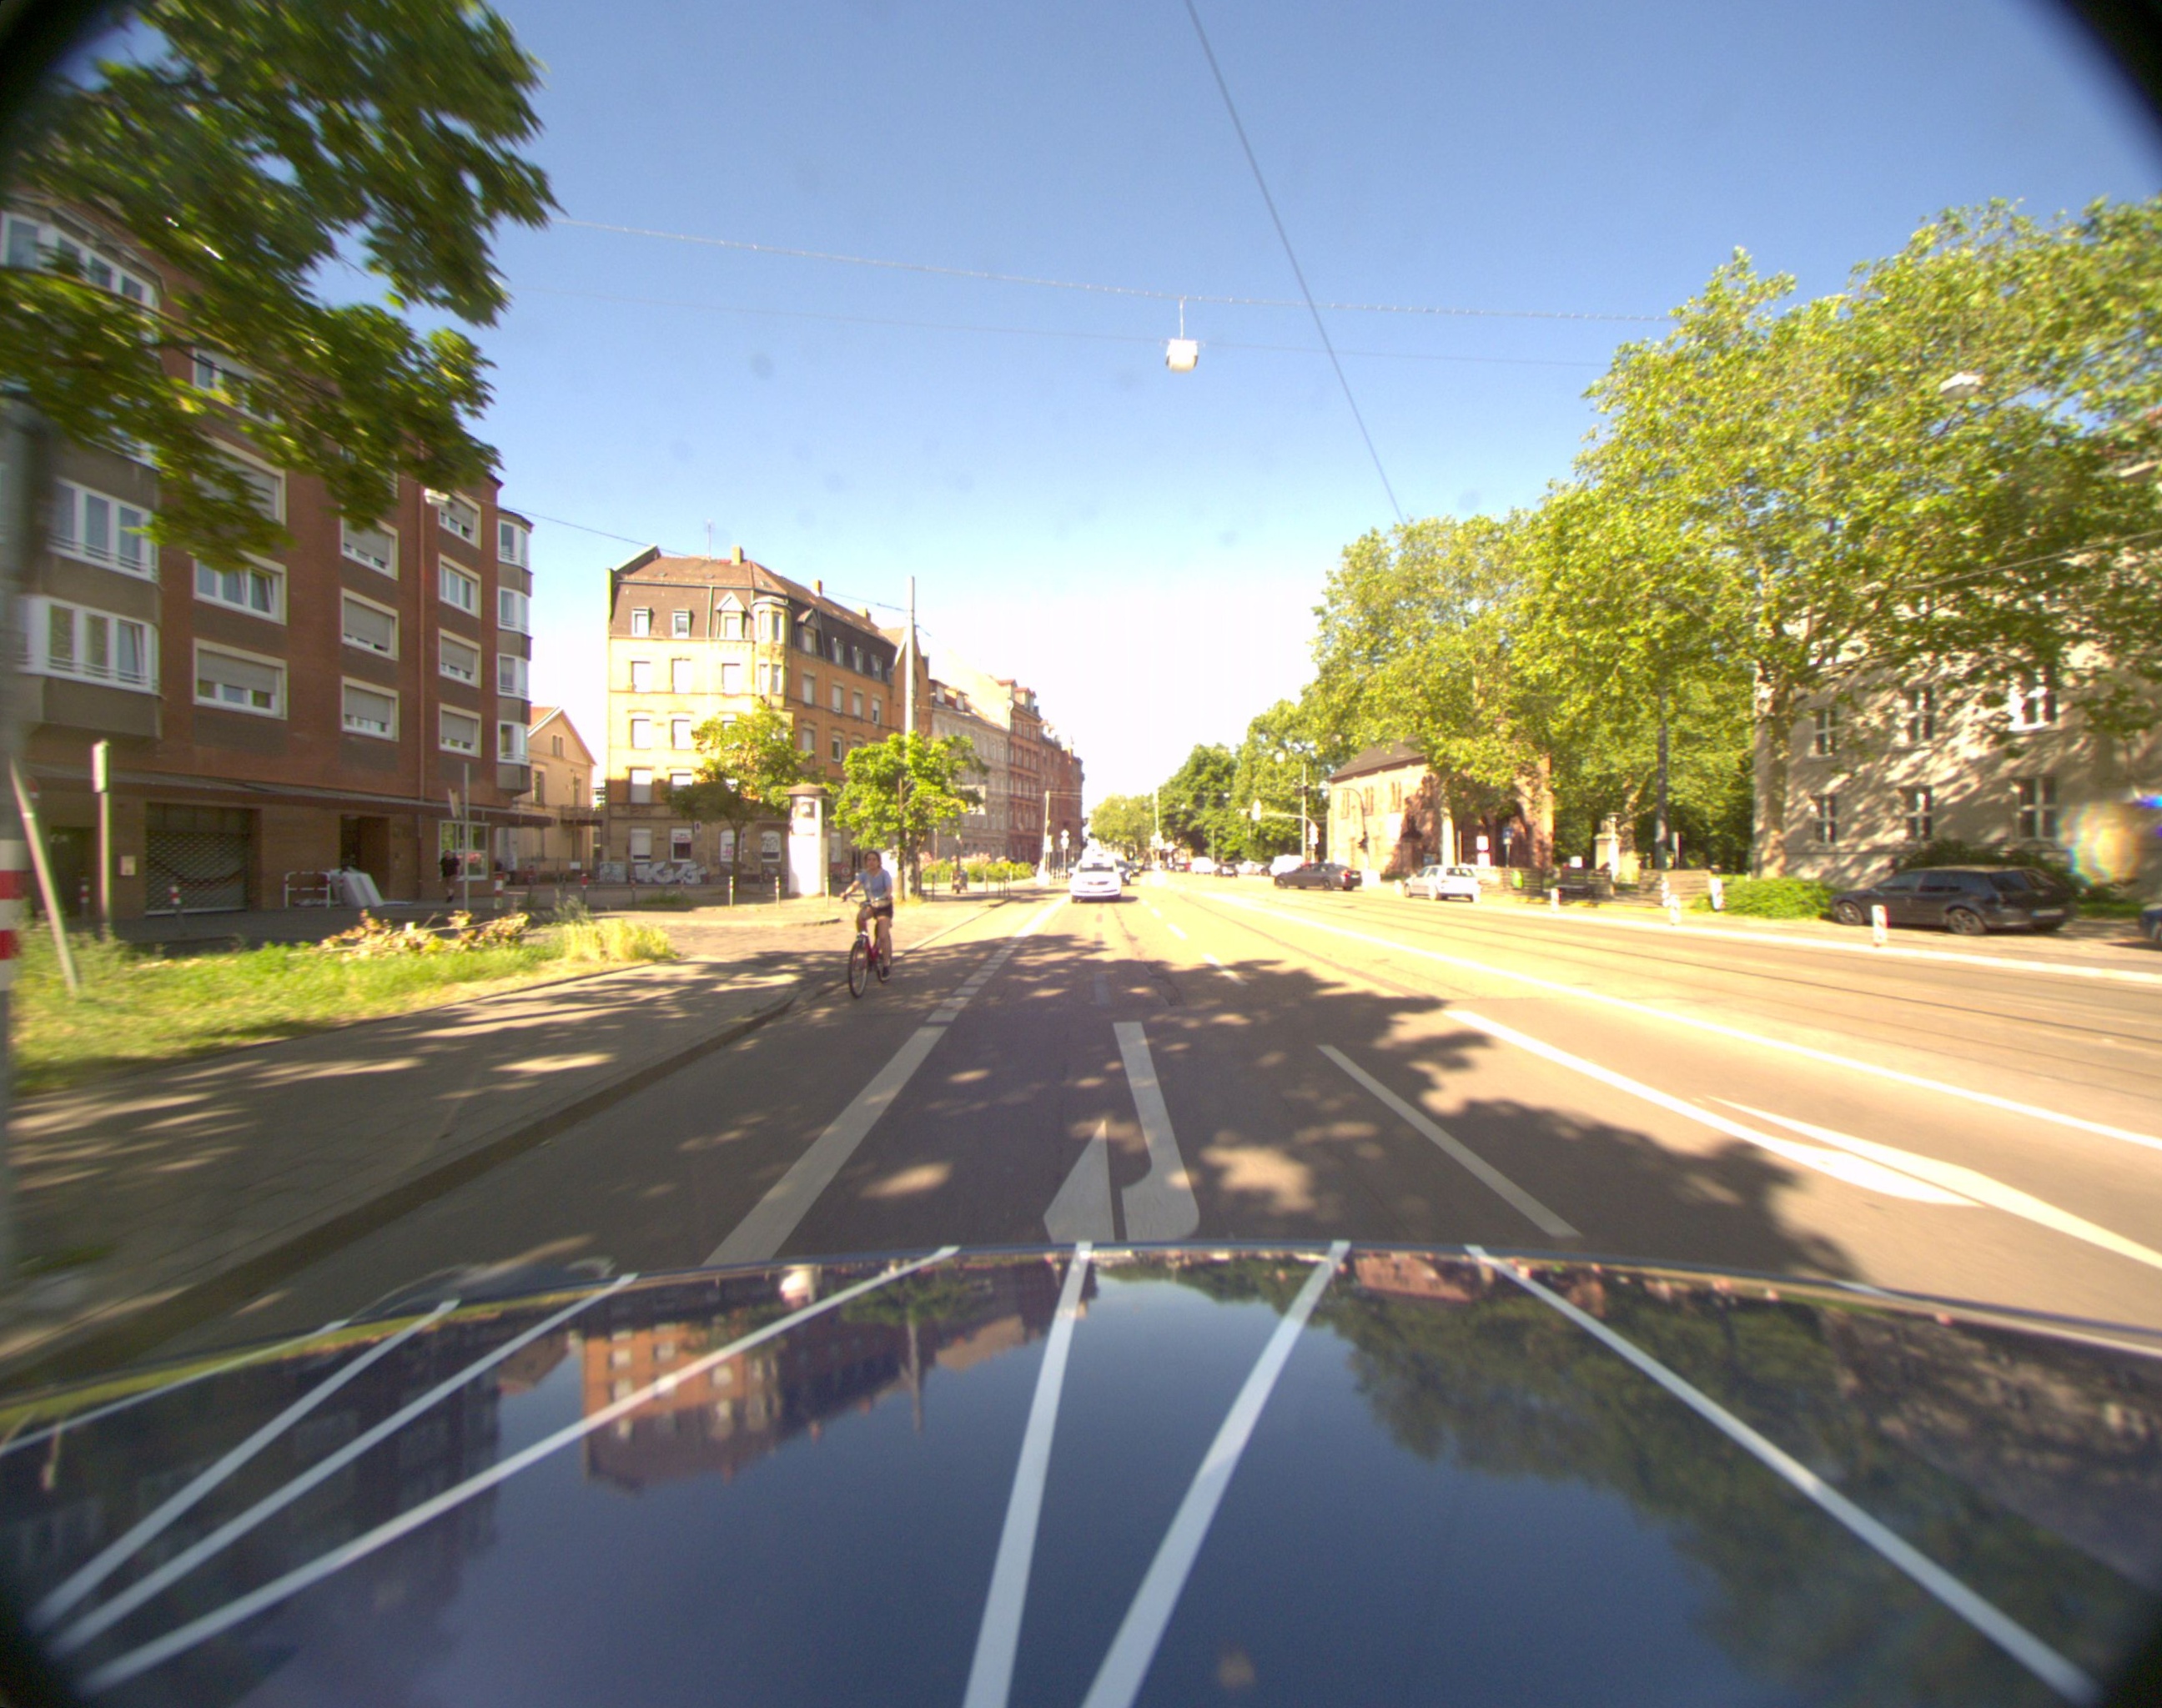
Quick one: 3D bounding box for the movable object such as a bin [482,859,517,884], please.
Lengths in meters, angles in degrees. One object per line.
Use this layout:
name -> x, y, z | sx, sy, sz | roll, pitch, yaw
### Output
movable object such as a bin -> -33.962, 1.024, 44.417 | 1.218, 1.436, 1.035 | -1, 1, -4

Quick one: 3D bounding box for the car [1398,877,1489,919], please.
car -> 14.579, 1.733, 30.819 | 1.834, 1.444, 4.171 | 0, 0, 2

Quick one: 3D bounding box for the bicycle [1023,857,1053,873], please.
bicycle -> -4.167, 1.017, 74.876 | 1.968, 1.408, 6.829 | 1, 0, 4

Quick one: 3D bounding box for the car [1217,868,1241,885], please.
car -> 14.323, 2.166, 73.812 | 1.619, 1.404, 4.088 | -3, 1, 2

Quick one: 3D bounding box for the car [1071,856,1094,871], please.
car -> 0.217, 1.020, 82.966 | 1.763, 1.517, 4.476 | 0, 1, 10

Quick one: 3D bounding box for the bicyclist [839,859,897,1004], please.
bicyclist -> -2.498, 0.877, 8.946 | 0.438, 1.629, 0.779 | 0, 0, 1

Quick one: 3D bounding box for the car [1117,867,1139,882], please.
car -> 4.736, 2.081, 77.469 | 1.889, 1.419, 4.376 | -1, 0, -1

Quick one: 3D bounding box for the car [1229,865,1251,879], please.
car -> 19.471, 2.153, 93.057 | 1.795, 1.542, 4.307 | -1, 0, 0

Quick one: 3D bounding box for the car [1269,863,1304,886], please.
car -> 19.397, 1.922, 71.947 | 1.921, 2.084, 4.592 | -1, 0, -1

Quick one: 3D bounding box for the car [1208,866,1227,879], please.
car -> 18.744, 2.527, 104.605 | 1.795, 1.542, 4.307 | -1, 0, 0

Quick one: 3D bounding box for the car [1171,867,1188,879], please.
car -> 13.598, 2.610, 105.042 | 1.797, 1.421, 4.376 | -1, 0, 0

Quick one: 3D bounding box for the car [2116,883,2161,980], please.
car -> 19.277, 1.305, 11.264 | 1.835, 1.629, 4.395 | 0, -1, -2

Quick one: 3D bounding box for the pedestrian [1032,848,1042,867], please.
pedestrian -> -4.560, 0.360, 78.823 | 0.844, 2.002, 1.369 | -1, 0, 4

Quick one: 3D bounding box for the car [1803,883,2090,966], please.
car -> 19.271, 1.480, 17.262 | 1.676, 1.538, 4.189 | 0, -1, -2

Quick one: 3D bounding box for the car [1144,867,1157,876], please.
car -> 11.853, 2.957, 129.326 | 1.797, 1.421, 4.376 | -1, 0, 0

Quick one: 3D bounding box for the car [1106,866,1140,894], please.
car -> 2.646, 1.655, 47.269 | 1.998, 1.607, 4.267 | -1, -3, 4

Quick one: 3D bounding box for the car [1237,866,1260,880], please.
car -> 19.357, 2.169, 87.978 | 1.795, 1.542, 4.307 | -1, 0, 0

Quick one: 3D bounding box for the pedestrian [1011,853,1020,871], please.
pedestrian -> -6.616, 0.819, 77.113 | 0.821, 1.851, 0.703 | -1, 1, -10

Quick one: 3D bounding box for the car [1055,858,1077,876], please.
car -> -1.273, 1.117, 67.249 | 1.683, 1.475, 4.001 | -1, 0, 3

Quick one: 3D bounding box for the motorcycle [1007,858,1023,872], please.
motorcycle -> -6.693, 1.117, 77.102 | 1.631, 1.308, 0.716 | -1, 1, -10

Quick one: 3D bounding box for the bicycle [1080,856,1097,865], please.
bicycle -> 0.955, 0.784, 92.418 | 1.917, 1.130, 0.846 | 0, 1, 15

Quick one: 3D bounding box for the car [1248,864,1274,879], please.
car -> 19.540, 1.847, 82.656 | 1.795, 1.542, 4.306 | -1, 0, -1

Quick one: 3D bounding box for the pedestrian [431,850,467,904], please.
pedestrian -> -20.814, 0.755, 25.038 | 0.592, 1.750, 0.642 | -1, 1, 1

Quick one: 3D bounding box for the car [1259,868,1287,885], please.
car -> 19.547, 2.296, 77.563 | 1.795, 1.542, 3.860 | -1, 0, 0

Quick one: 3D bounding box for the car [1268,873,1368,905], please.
car -> 12.313, 1.770, 39.856 | 1.839, 1.444, 4.948 | 0, 0, -34

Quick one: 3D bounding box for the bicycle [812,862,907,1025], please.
bicycle -> -2.469, 0.918, 8.667 | 0.438, 1.629, 1.939 | -2, 0, 0

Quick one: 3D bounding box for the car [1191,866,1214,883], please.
car -> 14.147, 2.347, 88.816 | 2.066, 1.880, 4.517 | 1, 0, 2

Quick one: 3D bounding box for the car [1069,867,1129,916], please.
car -> 0.775, 1.374, 29.369 | 1.800, 1.626, 4.396 | -1, 1, 8

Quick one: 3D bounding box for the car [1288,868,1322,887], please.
car -> 19.726, 2.066, 67.060 | 1.795, 1.542, 3.860 | -1, 0, 0
